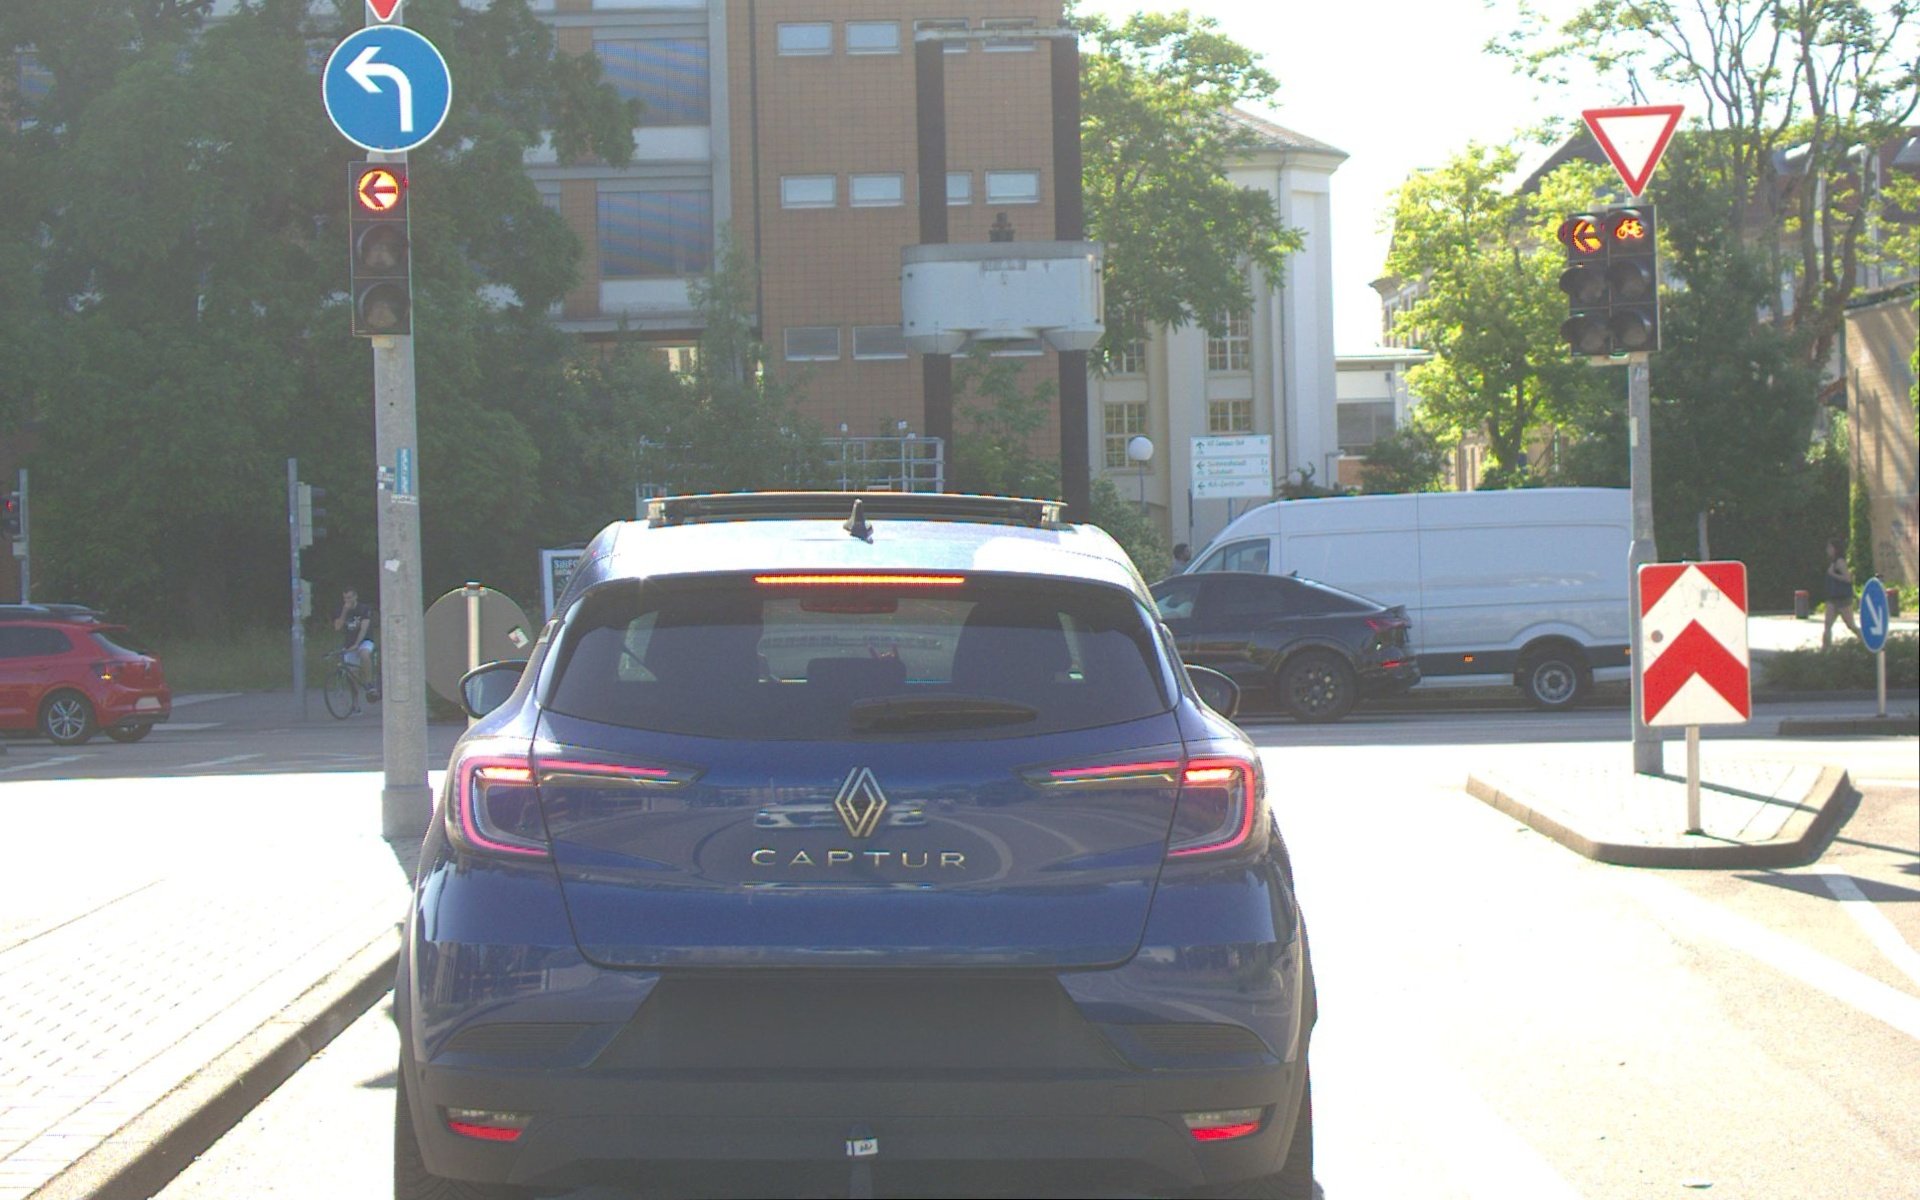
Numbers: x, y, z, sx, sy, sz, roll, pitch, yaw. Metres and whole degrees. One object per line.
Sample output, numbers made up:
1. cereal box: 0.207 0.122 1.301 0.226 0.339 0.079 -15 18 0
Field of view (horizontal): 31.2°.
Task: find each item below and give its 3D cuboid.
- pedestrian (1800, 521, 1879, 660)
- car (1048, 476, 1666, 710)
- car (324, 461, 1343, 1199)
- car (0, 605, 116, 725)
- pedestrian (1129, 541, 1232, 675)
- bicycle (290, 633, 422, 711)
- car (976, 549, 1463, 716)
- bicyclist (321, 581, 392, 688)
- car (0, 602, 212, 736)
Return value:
1. pedestrian: 11.895 -0.139 46.516 0.932 1.849 0.807 -1 1 9
2. car: 4.731 -0.089 40.465 6.938 2.538 3.011 -1 1 11
3. car: -0.277 0.545 8.016 1.794 1.649 3.853 0 1 -2
4. car: -13.148 0.835 43.985 4.047 1.434 2.064 -1 1 15
5. pedestrian: 3.124 0.107 48.608 1.298 1.849 0.965 -1 1 11
6. bicycle: -8.090 0.956 46.086 0.699 1.004 1.865 -3 -2 29
7. car: 2.792 0.365 36.743 5.031 1.667 1.999 1 -2 6
8. bicyclist: -8.087 0.464 46.092 0.648 1.407 0.637 -3 -2 28
9. car: -10.974 0.798 39.727 4.046 1.434 2.065 -1 1 10
